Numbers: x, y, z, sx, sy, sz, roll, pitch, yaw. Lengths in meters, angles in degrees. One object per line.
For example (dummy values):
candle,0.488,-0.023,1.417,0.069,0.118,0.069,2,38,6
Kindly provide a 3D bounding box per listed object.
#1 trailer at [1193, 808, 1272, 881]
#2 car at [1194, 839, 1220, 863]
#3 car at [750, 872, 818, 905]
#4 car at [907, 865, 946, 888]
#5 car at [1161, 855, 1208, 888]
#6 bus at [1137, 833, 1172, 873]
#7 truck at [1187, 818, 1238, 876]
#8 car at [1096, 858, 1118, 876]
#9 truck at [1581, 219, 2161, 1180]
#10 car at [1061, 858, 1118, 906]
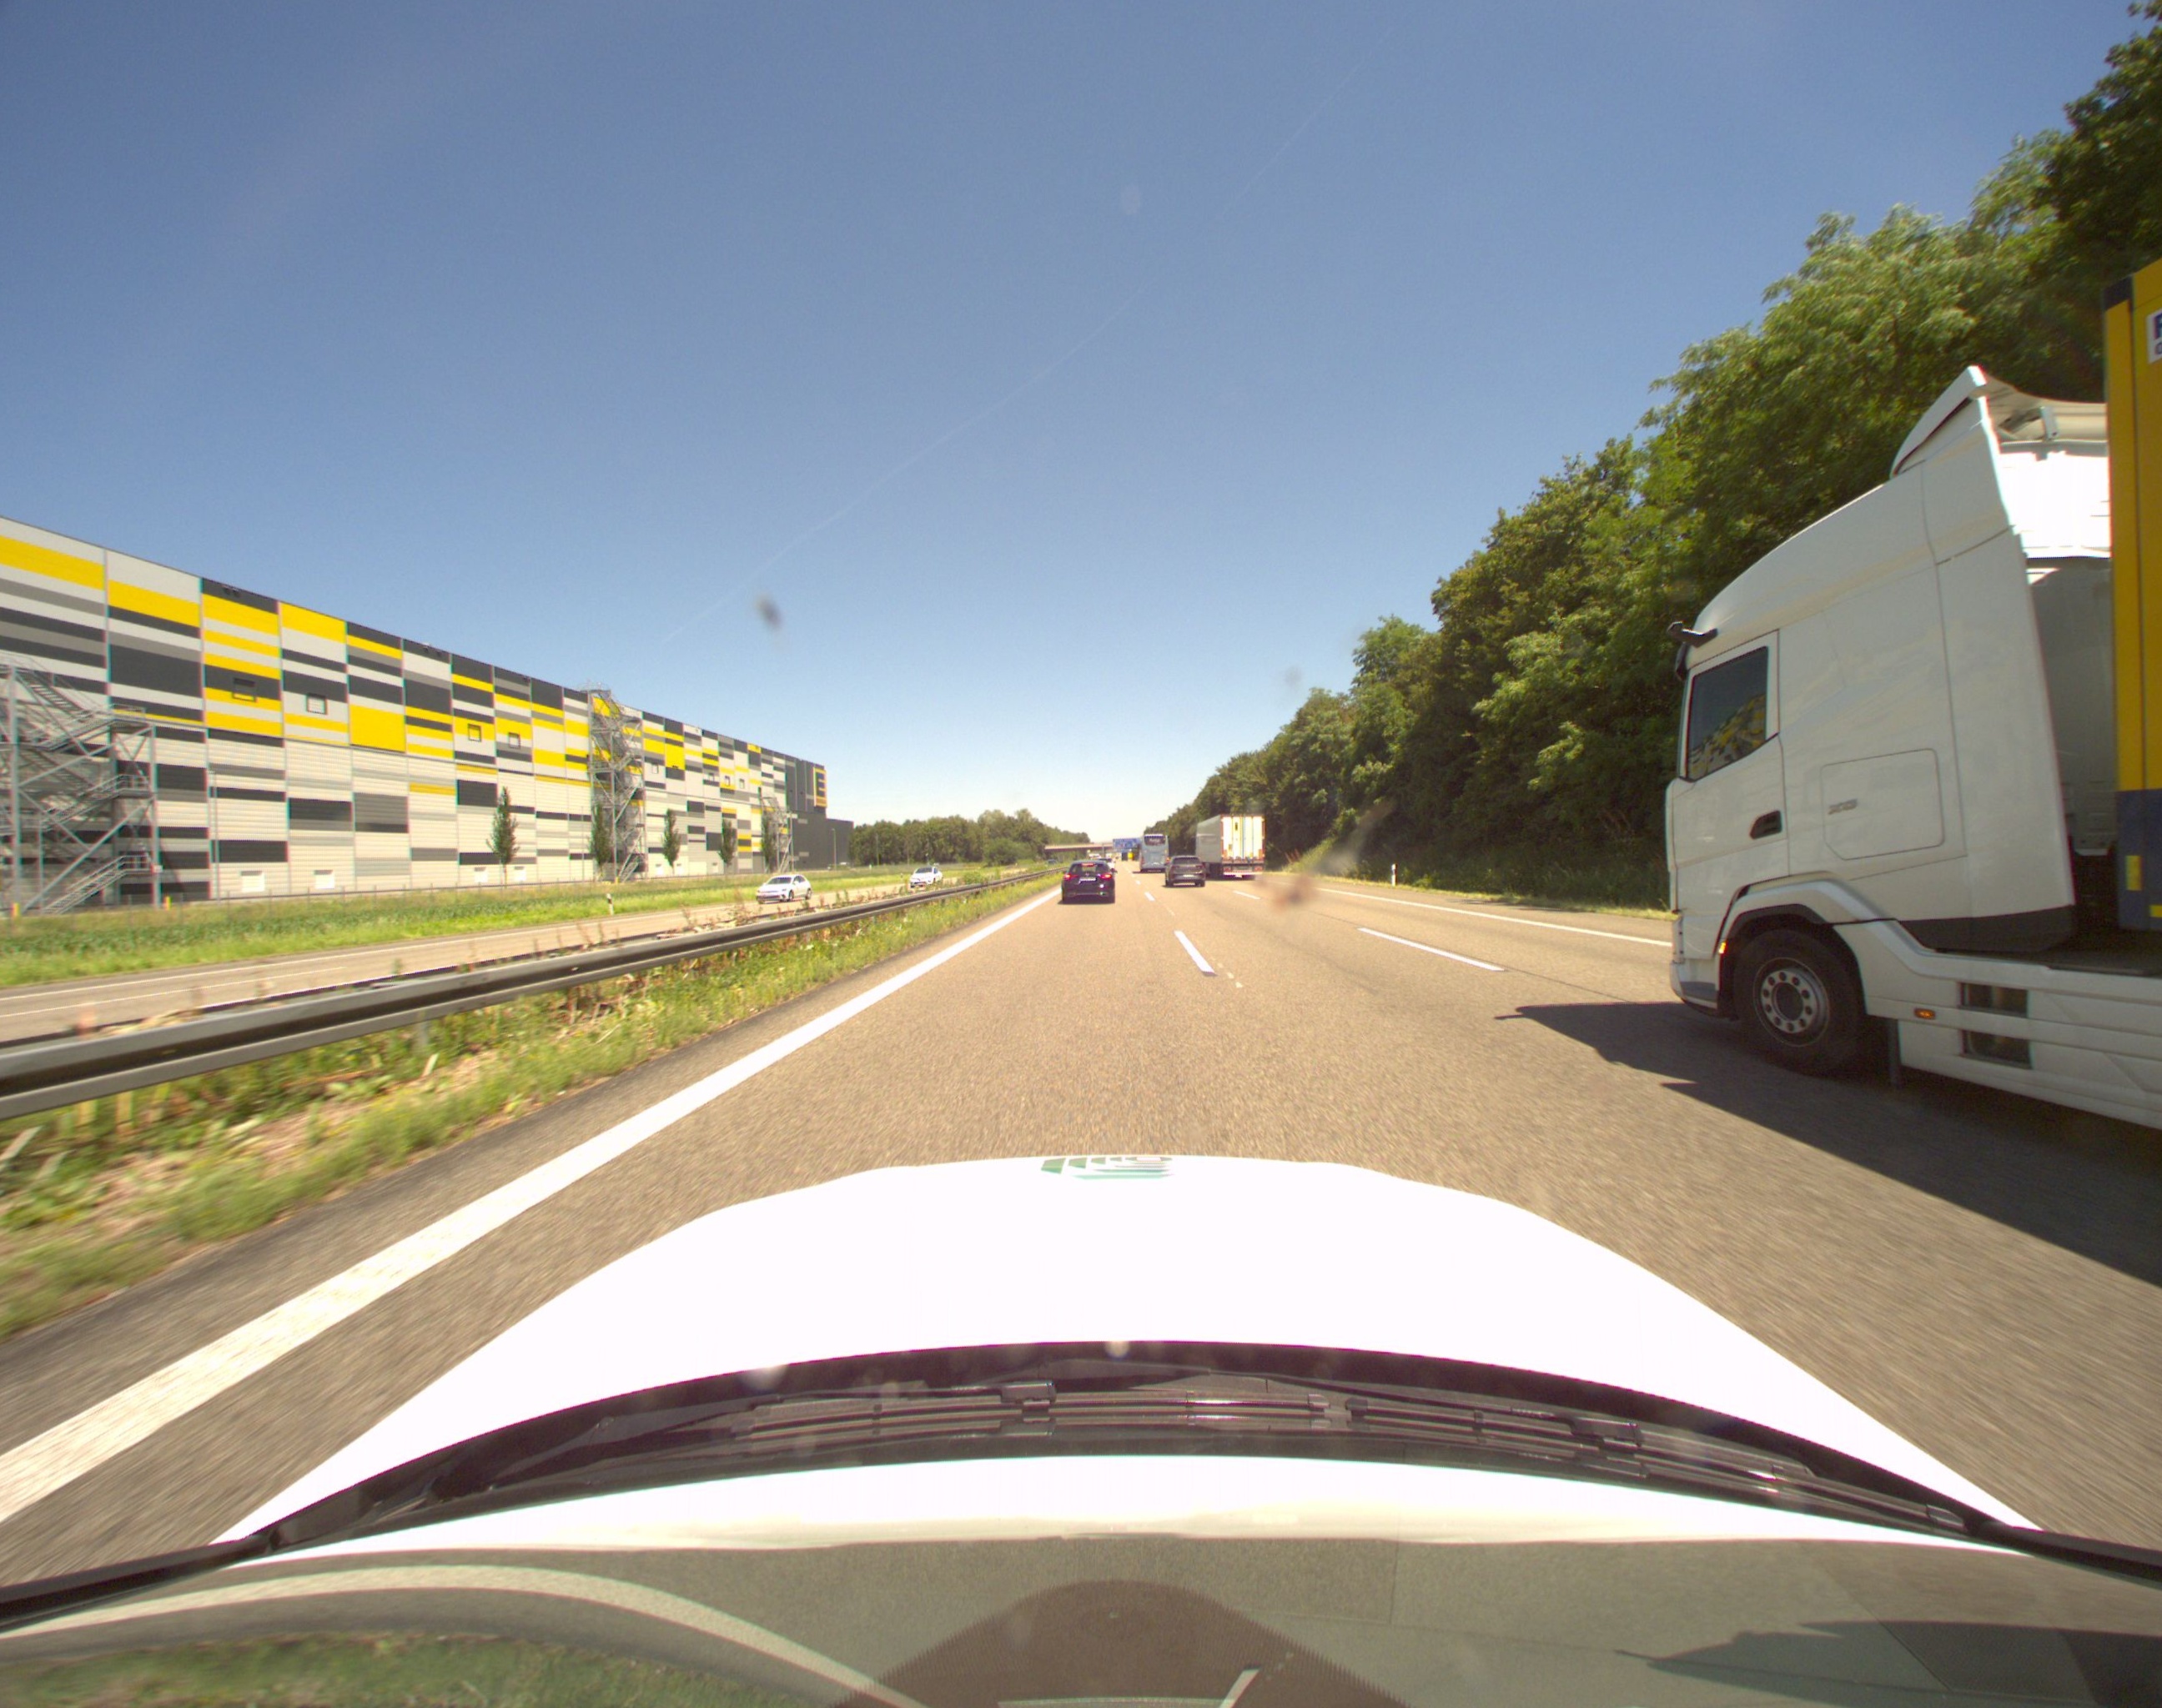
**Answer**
trailer,9.800,-0.552,54.618,3.028,4.224,13.839,-1,0,2
car,11.753,-0.267,76.089,1.892,2.120,4.243,-1,0,1
car,-15.960,1.797,43.970,1.793,1.532,4.633,-3,0,1
car,-11.261,1.633,59.649,1.792,1.532,4.486,-3,0,2
car,5.190,0.857,41.269,1.892,1.532,4.761,-1,0,1
bus,7.107,-0.061,80.348,2.791,3.596,12.482,-1,0,3
truck,10.027,-0.524,62.793,3.036,4.215,6.050,-1,0,1
car,2.347,1.150,73.890,1.892,1.532,4.243,-1,0,1
truck,5.950,-0.658,4.543,2.668,4.070,6.050,-1,0,1
car,0.325,0.891,28.102,1.793,1.502,4.243,-1,0,1
